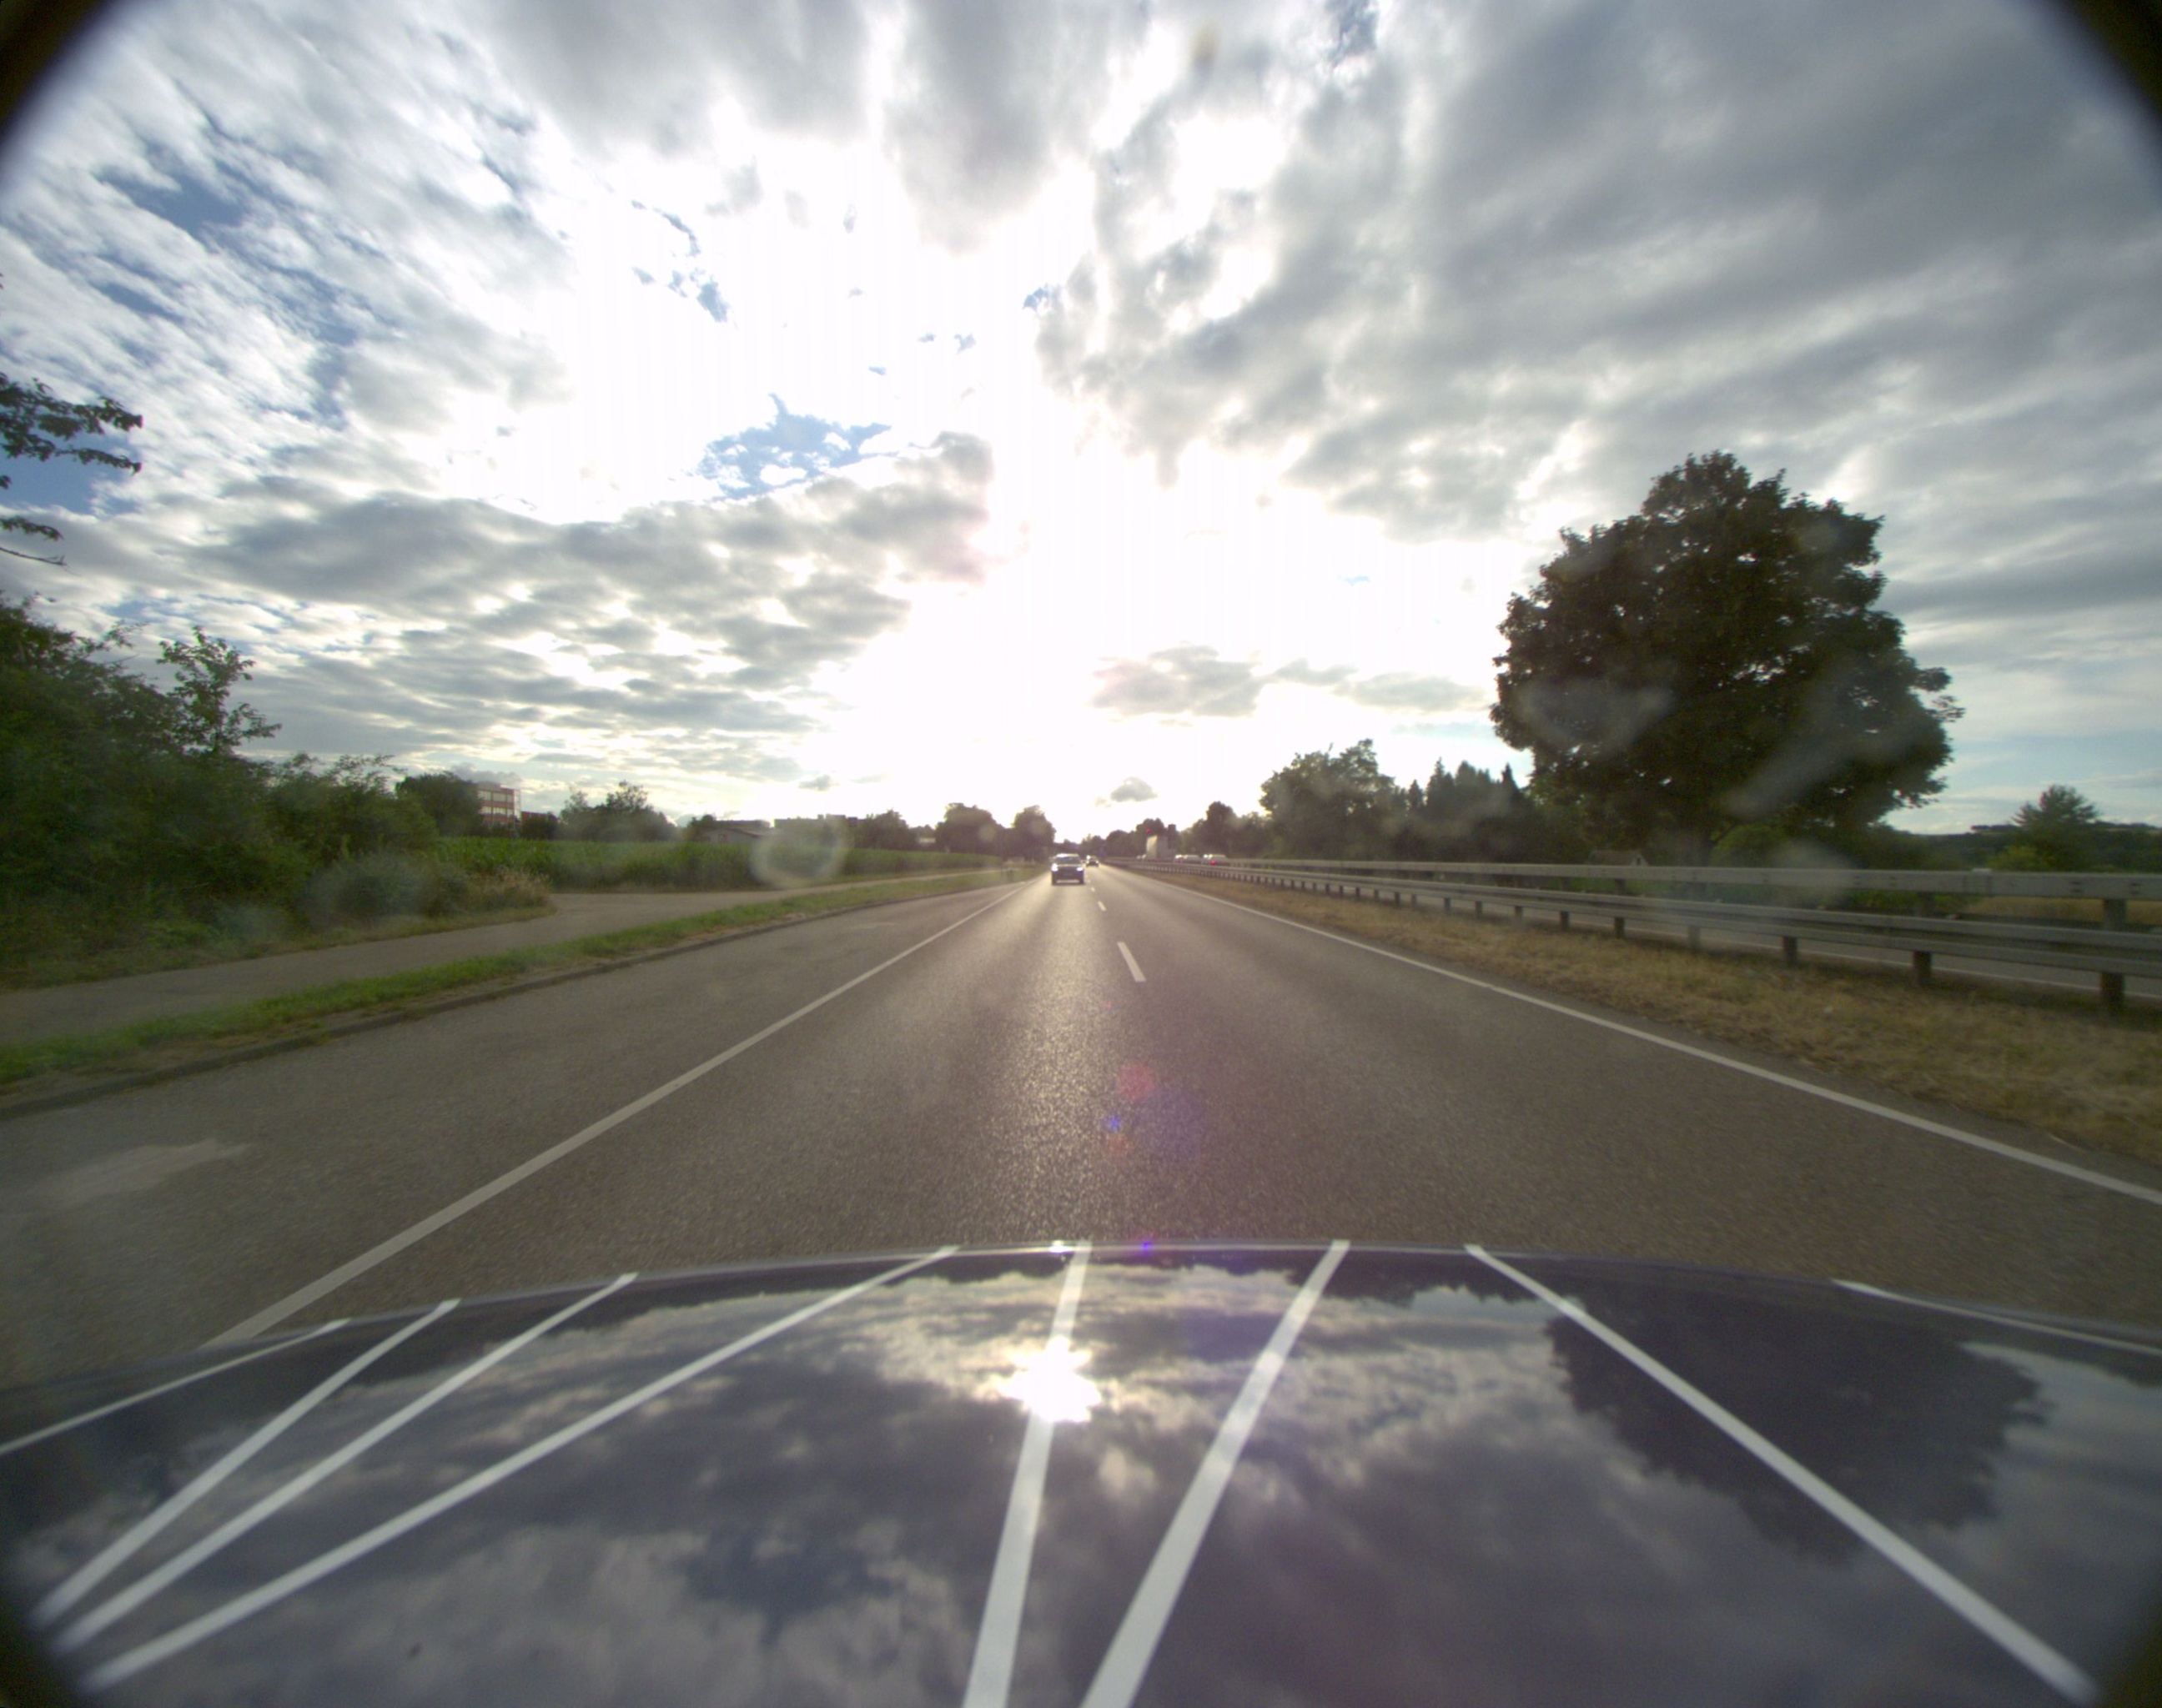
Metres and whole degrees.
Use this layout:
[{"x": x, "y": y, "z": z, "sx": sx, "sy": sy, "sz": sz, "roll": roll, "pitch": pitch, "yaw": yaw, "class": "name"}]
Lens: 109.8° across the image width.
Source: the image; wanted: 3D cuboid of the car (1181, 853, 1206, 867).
[{"x": 11.591, "y": 0.595, "z": 78.351, "sx": 1.871, "sy": 1.469, "sz": 4.825, "roll": 0, "pitch": 0, "yaw": 0, "class": "car"}]

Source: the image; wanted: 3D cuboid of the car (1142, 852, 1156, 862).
[{"x": 11.366, "y": 0.498, "z": 126.966, "sx": 1.912, "sy": 1.600, "sz": 4.404, "roll": 0, "pitch": 0, "yaw": 0, "class": "car"}]

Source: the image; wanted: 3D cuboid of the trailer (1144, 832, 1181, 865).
[{"x": 10.894, "y": -0.662, "z": 103.154, "sx": 3.474, "sy": 4.126, "sz": 13.915, "roll": 1, "pitch": 0, "yaw": 0, "class": "trailer"}]

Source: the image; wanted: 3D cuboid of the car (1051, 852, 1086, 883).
[{"x": -0.736, "y": 0.754, "z": 44.339, "sx": 1.849, "sy": 1.640, "sz": 4.480, "roll": -3, "pitch": 0, "yaw": -1, "class": "car"}]

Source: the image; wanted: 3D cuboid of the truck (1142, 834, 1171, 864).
[{"x": 10.884, "y": -0.684, "z": 109.635, "sx": 3.483, "sy": 4.126, "sz": 6.049, "roll": 1, "pitch": 0, "yaw": 0, "class": "truck"}]

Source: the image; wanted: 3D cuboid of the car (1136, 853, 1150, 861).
[{"x": 11.108, "y": 0.550, "z": 136.421, "sx": 1.912, "sy": 1.420, "sz": 5.151, "roll": 0, "pitch": 0, "yaw": 0, "class": "car"}]

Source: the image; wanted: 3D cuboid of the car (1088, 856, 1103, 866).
[{"x": 2.047, "y": 0.995, "z": 105.290, "sx": 1.998, "sy": 1.320, "sz": 4.000, "roll": 0, "pitch": 0, "yaw": 1, "class": "car"}]

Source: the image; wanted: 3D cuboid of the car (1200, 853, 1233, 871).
[{"x": 11.340, "y": 0.642, "z": 64.010, "sx": 1.871, "sy": 1.469, "sz": 4.935, "roll": 0, "pitch": 0, "yaw": 0, "class": "car"}]
